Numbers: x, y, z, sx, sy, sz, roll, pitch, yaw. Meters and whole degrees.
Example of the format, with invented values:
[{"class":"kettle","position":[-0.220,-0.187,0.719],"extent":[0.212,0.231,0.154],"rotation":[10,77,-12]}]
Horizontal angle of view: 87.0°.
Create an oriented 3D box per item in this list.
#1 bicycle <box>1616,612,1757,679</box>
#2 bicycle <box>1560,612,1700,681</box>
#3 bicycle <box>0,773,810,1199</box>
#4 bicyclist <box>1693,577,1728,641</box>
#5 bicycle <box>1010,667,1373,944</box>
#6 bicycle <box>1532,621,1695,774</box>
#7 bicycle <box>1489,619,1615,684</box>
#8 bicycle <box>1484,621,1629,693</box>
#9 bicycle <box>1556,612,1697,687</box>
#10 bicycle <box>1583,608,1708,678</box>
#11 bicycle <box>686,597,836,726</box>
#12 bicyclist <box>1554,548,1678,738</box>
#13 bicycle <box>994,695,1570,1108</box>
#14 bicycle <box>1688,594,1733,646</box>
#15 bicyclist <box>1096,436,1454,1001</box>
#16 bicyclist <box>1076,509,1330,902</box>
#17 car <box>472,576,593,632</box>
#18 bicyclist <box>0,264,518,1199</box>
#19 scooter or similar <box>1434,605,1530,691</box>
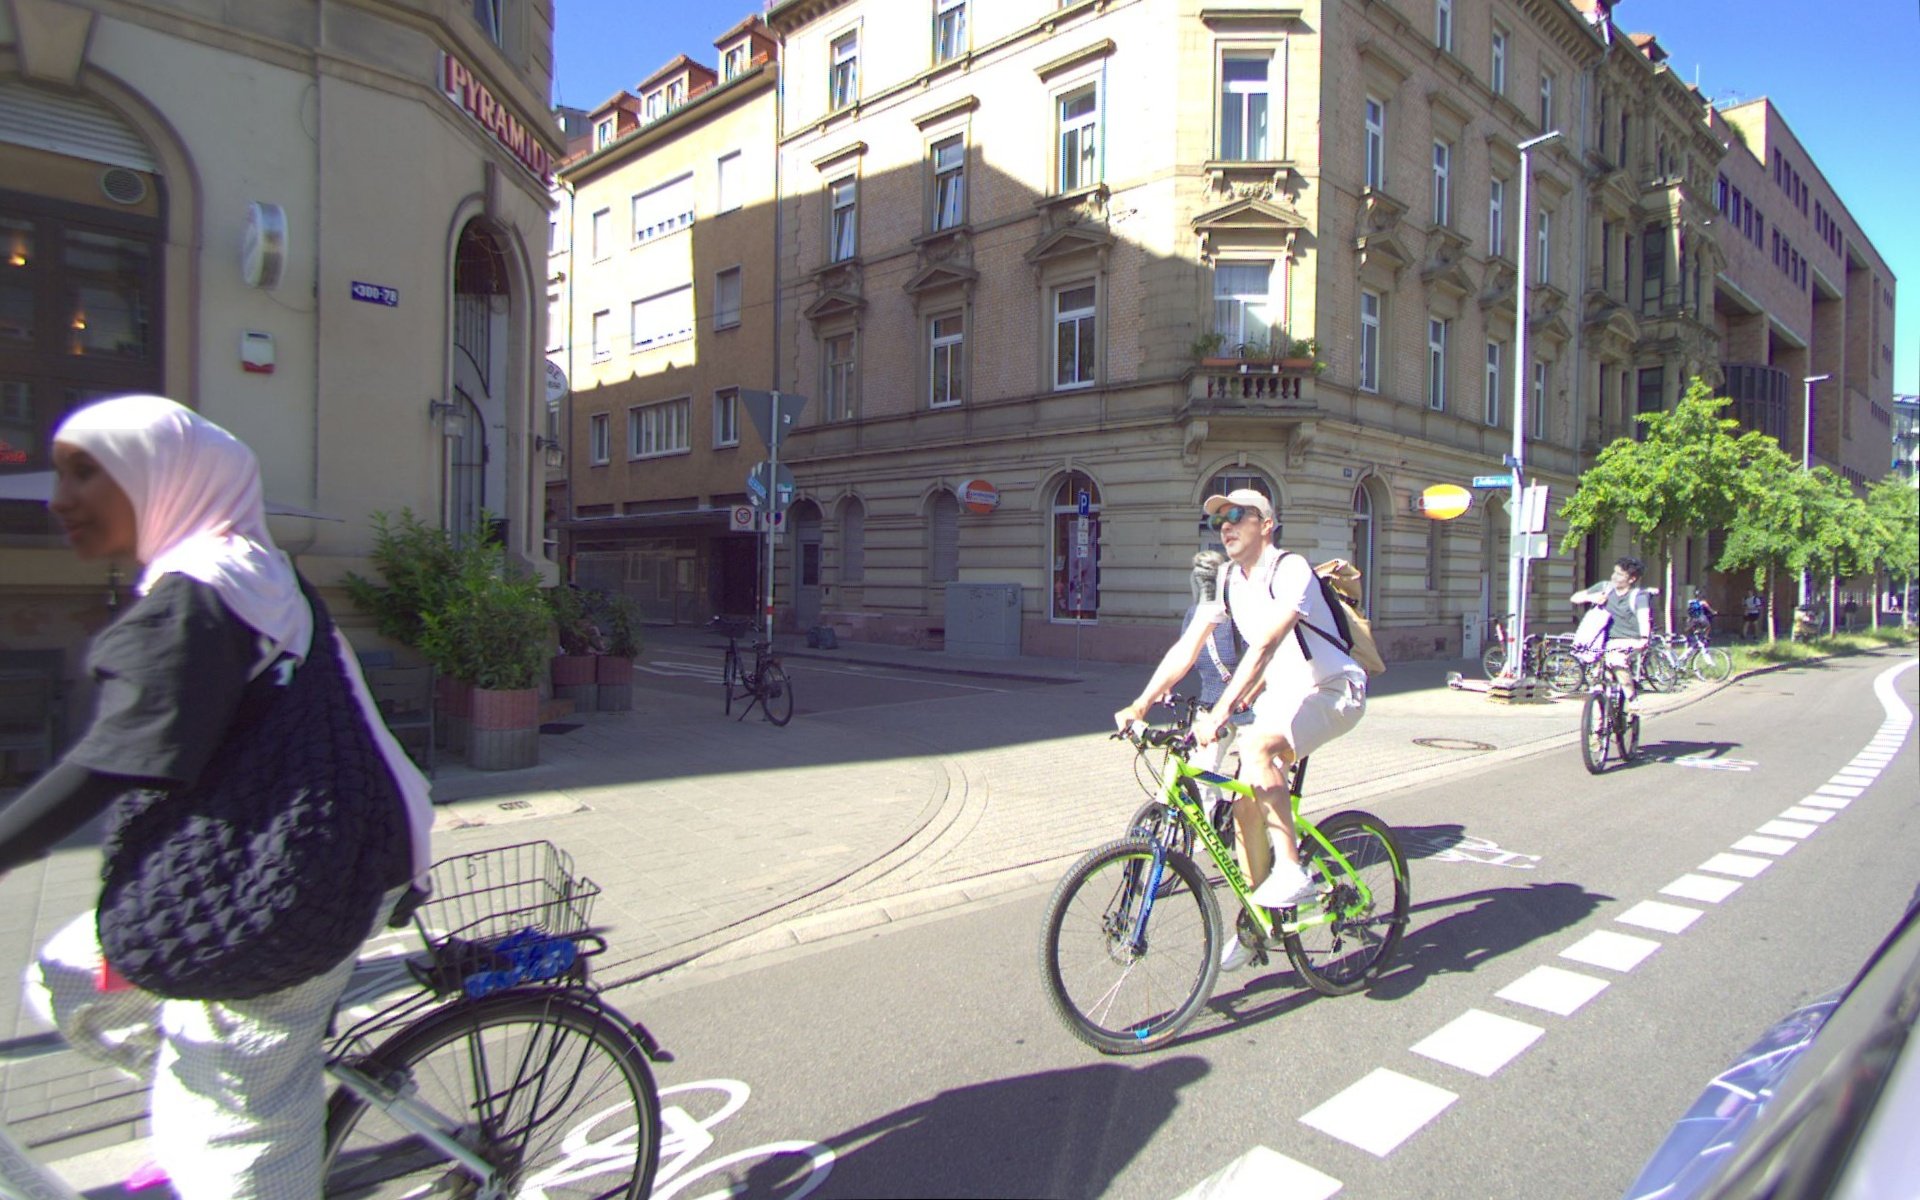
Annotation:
[{"class":"bicycle","position":[14.201,0.858,19.831],"extent":[0.833,1.054,2.062],"rotation":[-1,4,-41]},{"class":"bicycle","position":[12.146,0.812,18.383],"extent":[1.013,1.043,1.901],"rotation":[-1,4,-43]},{"class":"bicycle","position":[-1.262,0.933,1.605],"extent":[1.915,1.019,0.725],"rotation":[0,0,-36]},{"class":"bicyclist","position":[19.584,0.214,26.406],"extent":[0.781,1.637,0.578],"rotation":[-1,1,-43]},{"class":"bicycle","position":[1.231,0.915,5.148],"extent":[1.918,1.019,0.829],"rotation":[0,0,-41]},{"class":"bicycle","position":[5.956,0.814,9.178],"extent":[1.918,1.209,0.724],"rotation":[0,-1,-41]},{"class":"bicycle","position":[9.679,0.816,16.594],"extent":[0.488,0.937,1.716],"rotation":[0,1,-40]},{"class":"bicycle","position":[9.375,0.866,15.991],"extent":[0.580,0.922,1.910],"rotation":[-1,3,-31]},{"class":"bicycle","position":[11.253,0.809,17.138],"extent":[0.598,1.061,1.873],"rotation":[-1,4,-45]},{"class":"bicycle","position":[12.961,0.781,19.162],"extent":[1.115,1.074,1.677],"rotation":[-1,5,-42]},{"class":"bicycle","position":[-2.290,0.641,11.390],"extent":[0.801,1.247,2.221],"rotation":[4,-1,-34]},{"class":"bicyclist","position":[5.954,0.366,9.184],"extent":[0.879,1.625,0.724],"rotation":[0,-1,-41]},{"class":"bicycle","position":[1.138,0.910,3.548],"extent":[1.911,1.019,0.727],"rotation":[0,0,-23]},{"class":"bicycle","position":[19.630,0.499,26.465],"extent":[2.062,1.268,0.578],"rotation":[-1,2,-43]},{"class":"bicyclist","position":[1.071,0.349,3.522],"extent":[0.957,1.678,0.702],"rotation":[0,-1,-23]},{"class":"bicyclist","position":[1.236,0.470,5.157],"extent":[0.971,1.749,0.853],"rotation":[0,-1,-41]},{"class":"car","position":[-11.964,0.084,28.219],"extent":[3.685,1.428,1.594],"rotation":[2,1,40]},{"class":"bicyclist","position":[-1.321,0.514,1.544],"extent":[1.070,1.841,0.725],"rotation":[0,-1,-34]},{"class":"scooter or similar","position":[7.932,0.705,15.391],"extent":[0.479,1.213,1.197],"rotation":[0,1,-44]}]
